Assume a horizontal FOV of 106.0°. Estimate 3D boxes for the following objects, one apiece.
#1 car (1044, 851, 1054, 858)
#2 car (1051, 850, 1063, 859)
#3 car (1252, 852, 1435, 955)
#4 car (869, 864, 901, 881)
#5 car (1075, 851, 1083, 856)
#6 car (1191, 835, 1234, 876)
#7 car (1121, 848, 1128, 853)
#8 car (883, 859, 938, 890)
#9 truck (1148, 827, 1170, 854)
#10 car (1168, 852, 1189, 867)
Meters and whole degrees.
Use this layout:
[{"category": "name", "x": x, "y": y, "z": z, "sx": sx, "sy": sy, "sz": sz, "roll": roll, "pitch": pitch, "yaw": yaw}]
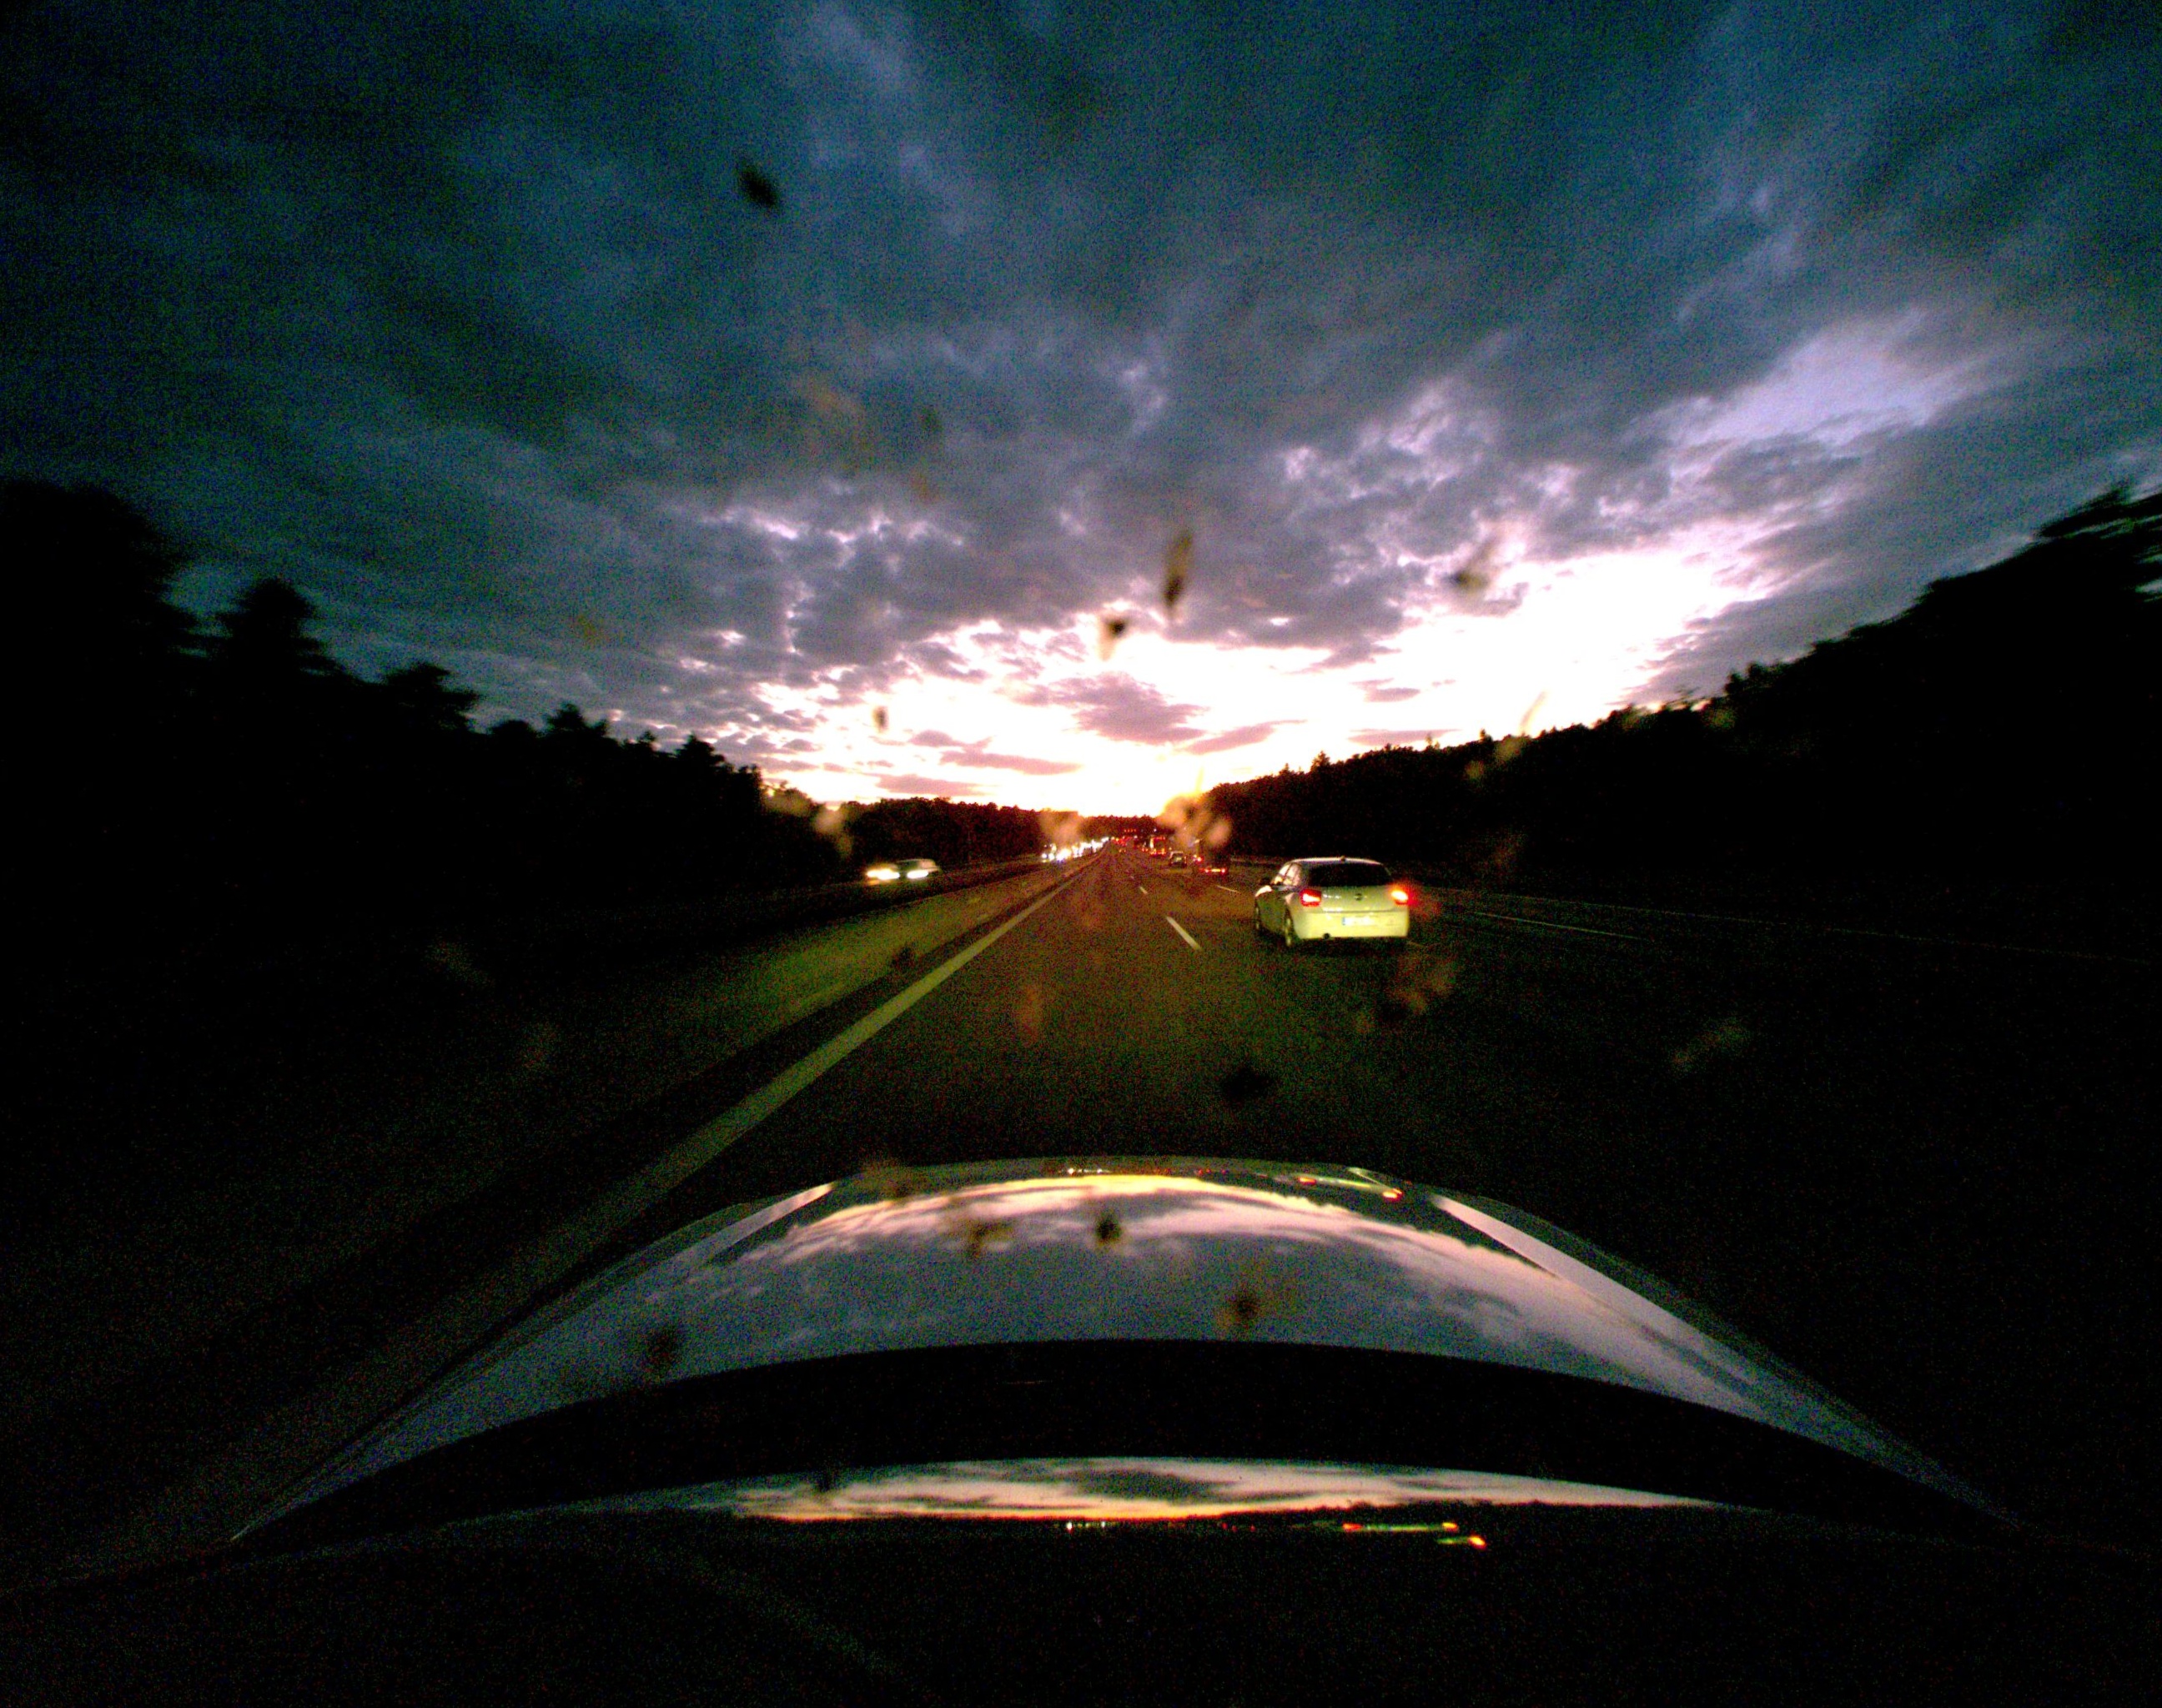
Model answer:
[{"category": "car", "x": -7.046, "y": 0.183, "z": 181.243, "sx": 1.828, "sy": 1.438, "sz": 4.005, "roll": -2, "pitch": 0, "yaw": 4}, {"category": "car", "x": -4.298, "y": 0.118, "z": 146.464, "sx": 1.828, "sy": 1.438, "sz": 4.005, "roll": -2, "pitch": 0, "yaw": 4}, {"category": "car", "x": 4.106, "y": 0.722, "z": 13.388, "sx": 1.853, "sy": 1.442, "sz": 3.720, "roll": -1, "pitch": -1, "yaw": 1}, {"category": "car", "x": -18.755, "y": 1.738, "z": 78.155, "sx": 1.828, "sy": 1.438, "sz": 4.005, "roll": -2, "pitch": 0, "yaw": 4}, {"category": "car", "x": -0.592, "y": -0.242, "z": 246.642, "sx": 1.828, "sy": 1.438, "sz": 4.005, "roll": -2, "pitch": 0, "yaw": 4}, {"category": "car", "x": 8.229, "y": 0.086, "z": 51.394, "sx": 2.156, "sy": 2.419, "sz": 5.570, "roll": -2, "pitch": 0, "yaw": 4}, {"category": "car", "x": 12.548, "y": -1.029, "z": 234.231, "sx": 1.828, "sy": 1.570, "sz": 4.005, "roll": -2, "pitch": 0, "yaw": 4}, {"category": "car", "x": -8.643, "y": 0.989, "z": 41.614, "sx": 1.829, "sy": 1.438, "sz": 4.002, "roll": -2, "pitch": 0, "yaw": 2}, {"category": "truck", "x": 18.327, "y": -3.055, "z": 192.274, "sx": 4.133, "sy": 5.856, "sz": 14.305, "roll": -2, "pitch": 0, "yaw": 3}, {"category": "car", "x": 10.372, "y": 0.570, "z": 86.978, "sx": 1.999, "sy": 1.538, "sz": 4.005, "roll": -2, "pitch": 0, "yaw": 4}]
